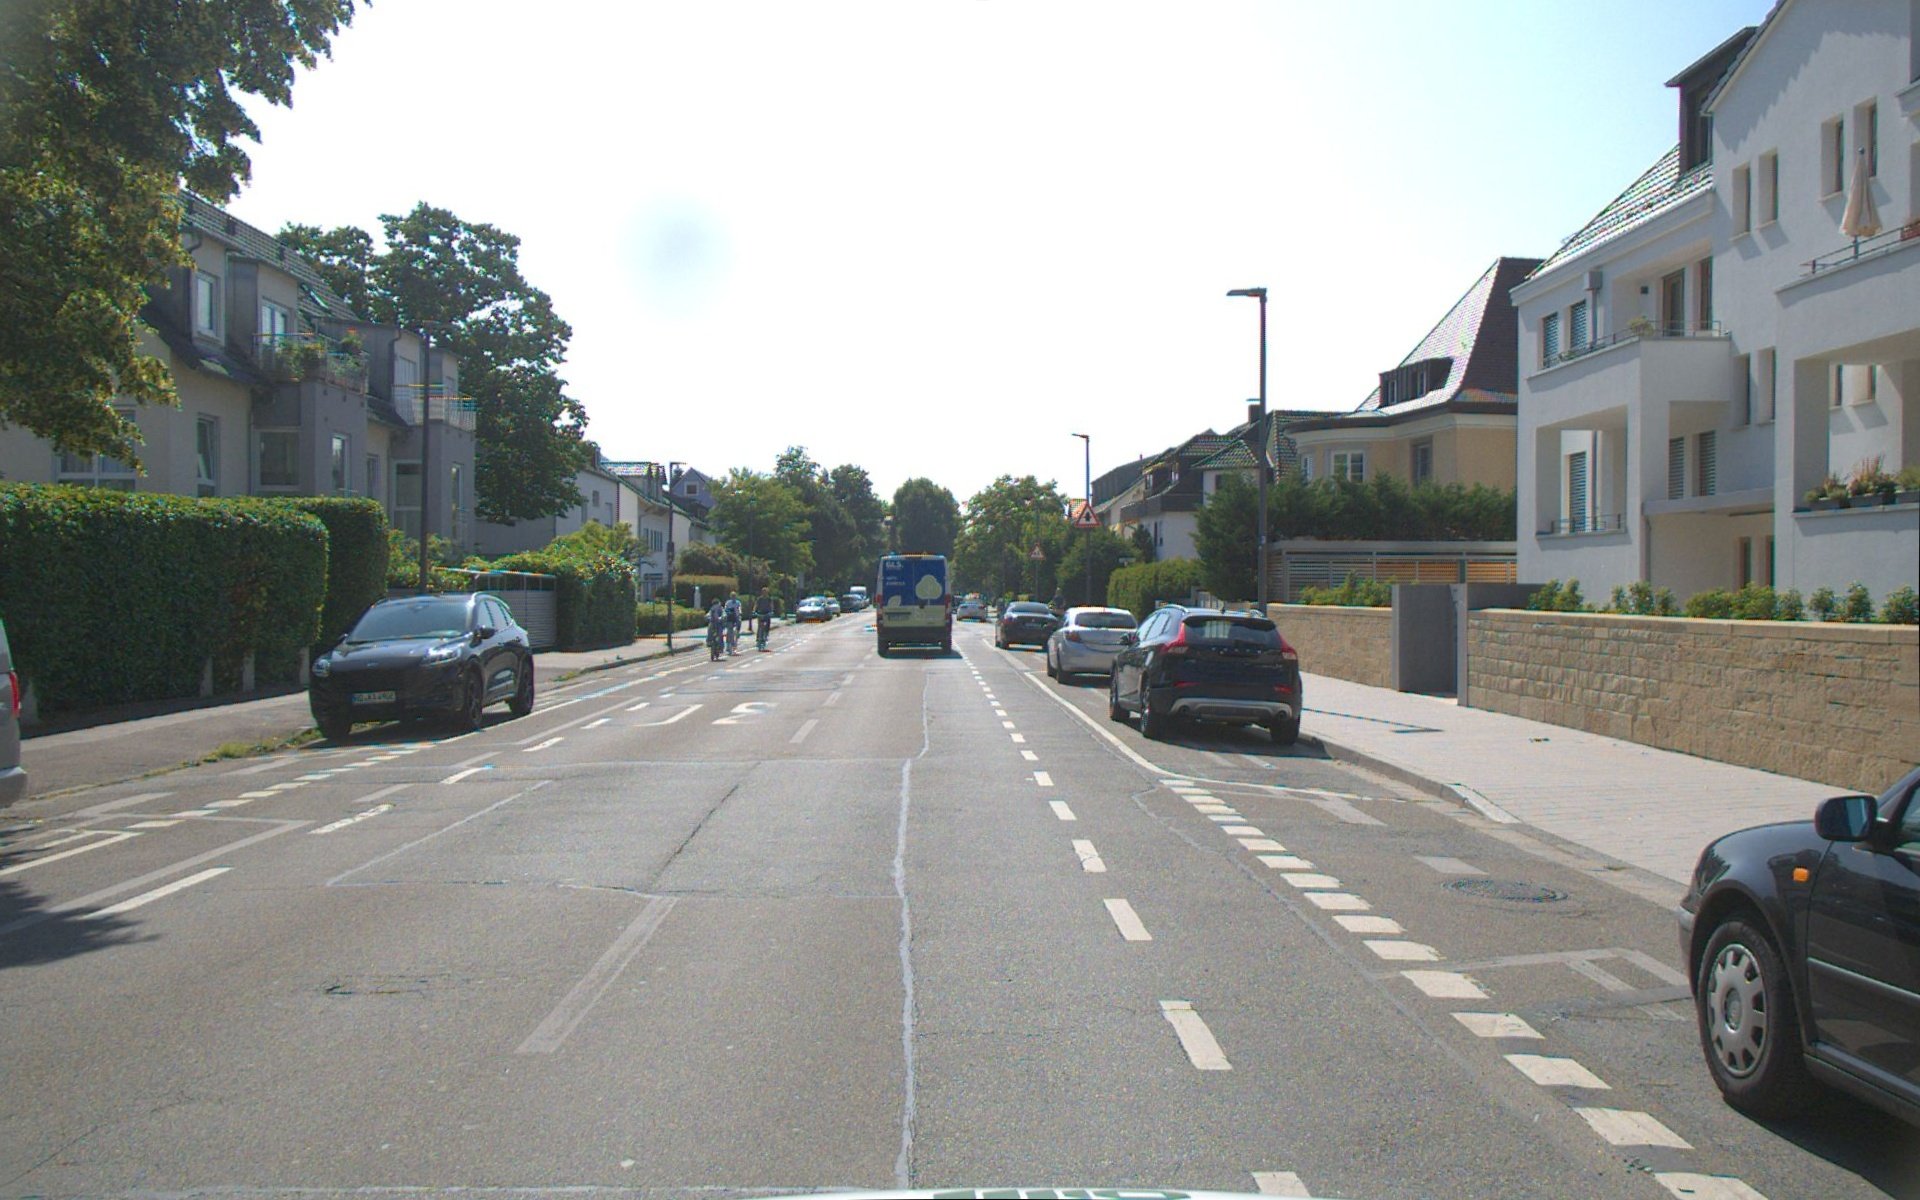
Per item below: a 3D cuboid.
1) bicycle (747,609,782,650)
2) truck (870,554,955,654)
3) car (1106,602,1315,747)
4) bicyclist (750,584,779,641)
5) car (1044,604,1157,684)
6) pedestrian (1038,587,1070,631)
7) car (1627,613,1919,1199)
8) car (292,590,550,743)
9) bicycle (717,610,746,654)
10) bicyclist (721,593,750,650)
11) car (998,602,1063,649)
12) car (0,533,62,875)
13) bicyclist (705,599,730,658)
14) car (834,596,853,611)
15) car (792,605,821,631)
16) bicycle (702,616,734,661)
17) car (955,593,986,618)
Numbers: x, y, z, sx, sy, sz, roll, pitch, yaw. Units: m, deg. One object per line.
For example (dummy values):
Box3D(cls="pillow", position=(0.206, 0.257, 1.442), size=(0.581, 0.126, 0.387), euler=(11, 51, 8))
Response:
Box3D(cls="bicycle", position=(-5.942, 0.886, 50.313), size=(0.767, 1.186, 2.419), euler=(-2, 0, -1))
Box3D(cls="truck", position=(-1.311, 0.106, 45.442), size=(2.226, 2.616, 4.390), euler=(0, 0, -2))
Box3D(cls="car", position=(2.872, 0.805, 19.820), size=(1.687, 1.474, 4.167), euler=(3, 0, -2))
Box3D(cls="bicyclist", position=(-5.958, 0.375, 50.411), size=(0.734, 1.697, 1.021), euler=(-2, 0, -1))
Box3D(cls="car", position=(2.635, 0.829, 31.844), size=(1.701, 1.352, 4.075), euler=(3, -1, -1))
Box3D(cls="pedestrian", position=(4.181, 0.391, 73.398), size=(0.891, 1.905, 1.175), euler=(0, -1, -35))
Box3D(cls="car", position=(3.243, 0.820, 3.877), size=(1.587, 1.474, 3.998), euler=(3, 0, -2))
Box3D(cls="car", position=(-6.698, 0.763, 21.087), size=(1.813, 1.639, 4.447), euler=(-3, 0, -1))
Box3D(cls="bicycle", position=(-6.528, 0.908, 47.271), size=(0.548, 1.206, 2.035), euler=(-2, 0, -1))
Box3D(cls="bicyclist", position=(-6.421, 0.611, 47.341), size=(0.662, 1.608, 0.859), euler=(-2, 0, -1))
Box3D(cls="car", position=(2.136, 0.744, 50.810), size=(1.701, 1.352, 4.258), euler=(-1, 0, -1))
Box3D(cls="car", position=(-6.416, 0.630, 7.606), size=(1.846, 1.953, 4.868), euler=(-2, 0, 0))
Box3D(cls="bicyclist", position=(-6.236, 0.726, 42.548), size=(0.480, 1.479, 0.964), euler=(-2, 0, -1))
Box3D(cls="car", position=(-11.273, 0.340, 160.130), size=(1.745, 1.485, 4.084), euler=(0, 0, -3))
Box3D(cls="car", position=(-9.474, 1.109, 102.246), size=(1.750, 1.465, 4.151), euler=(-1, 0, -5))
Box3D(cls="bicycle", position=(-6.212, 0.983, 42.491), size=(0.588, 1.124, 1.346), euler=(-2, 0, -1))
Box3D(cls="car", position=(0.654, 0.336, 105.781), size=(1.706, 1.426, 4.072), euler=(3, 1, -3))
